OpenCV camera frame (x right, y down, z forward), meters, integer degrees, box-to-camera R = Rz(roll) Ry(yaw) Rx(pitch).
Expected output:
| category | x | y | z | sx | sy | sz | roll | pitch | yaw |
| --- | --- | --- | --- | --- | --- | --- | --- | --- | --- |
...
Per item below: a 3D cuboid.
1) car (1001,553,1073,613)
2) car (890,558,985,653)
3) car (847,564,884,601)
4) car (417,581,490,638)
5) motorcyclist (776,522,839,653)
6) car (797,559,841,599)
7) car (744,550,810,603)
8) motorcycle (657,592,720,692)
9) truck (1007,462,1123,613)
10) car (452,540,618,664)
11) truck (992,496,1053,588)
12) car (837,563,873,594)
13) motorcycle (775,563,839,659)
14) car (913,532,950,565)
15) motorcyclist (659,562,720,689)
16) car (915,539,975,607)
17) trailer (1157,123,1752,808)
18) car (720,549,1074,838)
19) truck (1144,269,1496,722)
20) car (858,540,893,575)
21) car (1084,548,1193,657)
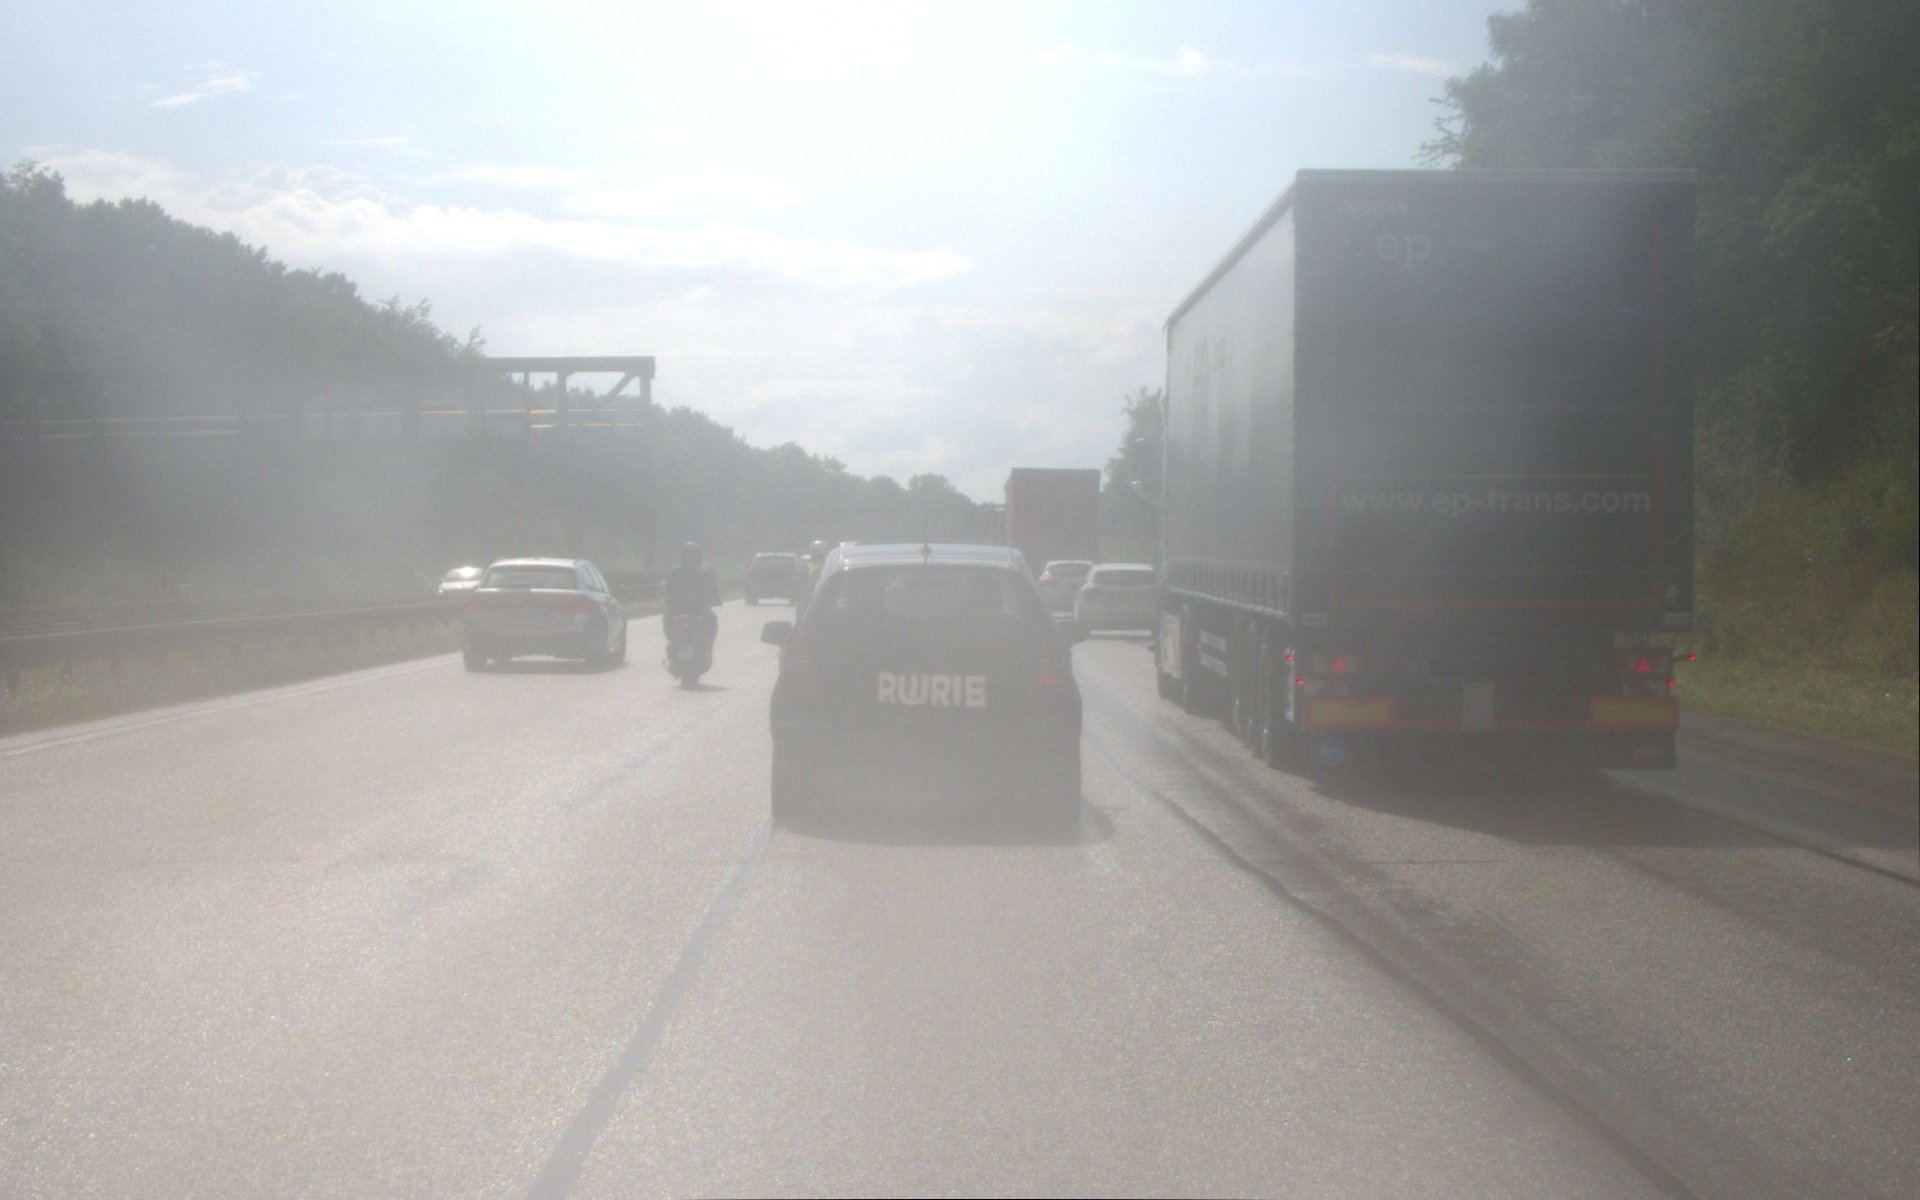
| category | x | y | z | sx | sy | sz | roll | pitch | yaw |
| --- | --- | --- | --- | --- | --- | --- | --- | --- | --- |
| car | 1.930 | -0.438 | 87.164 | 1.675 | 1.485 | 3.437 | 0 | 1 | -1 |
| car | -0.511 | 0.108 | 75.131 | 1.993 | 2.007 | 4.000 | 1 | 0 | -1 |
| car | -5.202 | -0.994 | 190.038 | 1.993 | 2.007 | 4.000 | 1 | 0 | -1 |
| car | -18.662 | 0.334 | 126.810 | 1.993 | 2.007 | 4.806 | 1 | 0 | 0 |
| motorcyclist | -2.076 | -0.176 | 47.005 | 0.821 | 1.755 | 1.390 | 1 | 0 | -2 |
| car | -5.660 | -0.849 | 138.006 | 1.675 | 1.591 | 3.437 | 0 | 1 | -1 |
| car | -5.739 | -0.761 | 108.026 | 1.893 | 1.622 | 4.195 | 0 | 1 | -1 |
| motorcycle | -3.116 | 0.469 | 39.553 | 0.676 | 1.083 | 1.982 | 1 | 1 | -4 |
| truck | 3.132 | -1.889 | 105.158 | 3.202 | 4.389 | 9.432 | 0 | 1 | 0 |
| car | -5.686 | -0.001 | 46.446 | 1.758 | 1.589 | 4.331 | 0 | 1 | -1 |
| truck | 3.262 | -3.021 | 183.016 | 2.882 | 4.671 | 12.659 | 1 | 0 | -1 |
| car | -5.013 | -1.040 | 164.416 | 1.675 | 1.485 | 3.437 | 0 | 1 | -1 |
| motorcycle | -2.080 | 0.134 | 47.035 | 0.819 | 1.258 | 2.118 | 1 | 1 | -2 |
| car | -1.316 | -2.326 | 156.158 | 1.631 | 1.485 | 3.437 | 0 | 1 | -1 |
| motorcyclist | -3.112 | 0.287 | 39.573 | 0.670 | 1.437 | 1.020 | 1 | 0 | -4 |
| car | -0.454 | -0.789 | 100.328 | 1.675 | 1.929 | 3.773 | 0 | 1 | -1 |
| trailer | 3.516 | -0.932 | 28.709 | 3.088 | 4.298 | 14.105 | 0 | 1 | 1 |
| car | -0.374 | 0.482 | 20.830 | 1.915 | 1.560 | 4.314 | 0 | 1 | -1 |
| truck | 3.606 | -1.030 | 35.862 | 3.052 | 4.310 | 5.886 | 1 | 0 | 0 |
| car | -5.050 | -2.532 | 206.023 | 1.993 | 2.007 | 4.000 | 1 | 0 | -1 |
| car | 3.413 | 0.037 | 66.355 | 1.849 | 2.007 | 4.087 | 1 | 0 | 0 |
